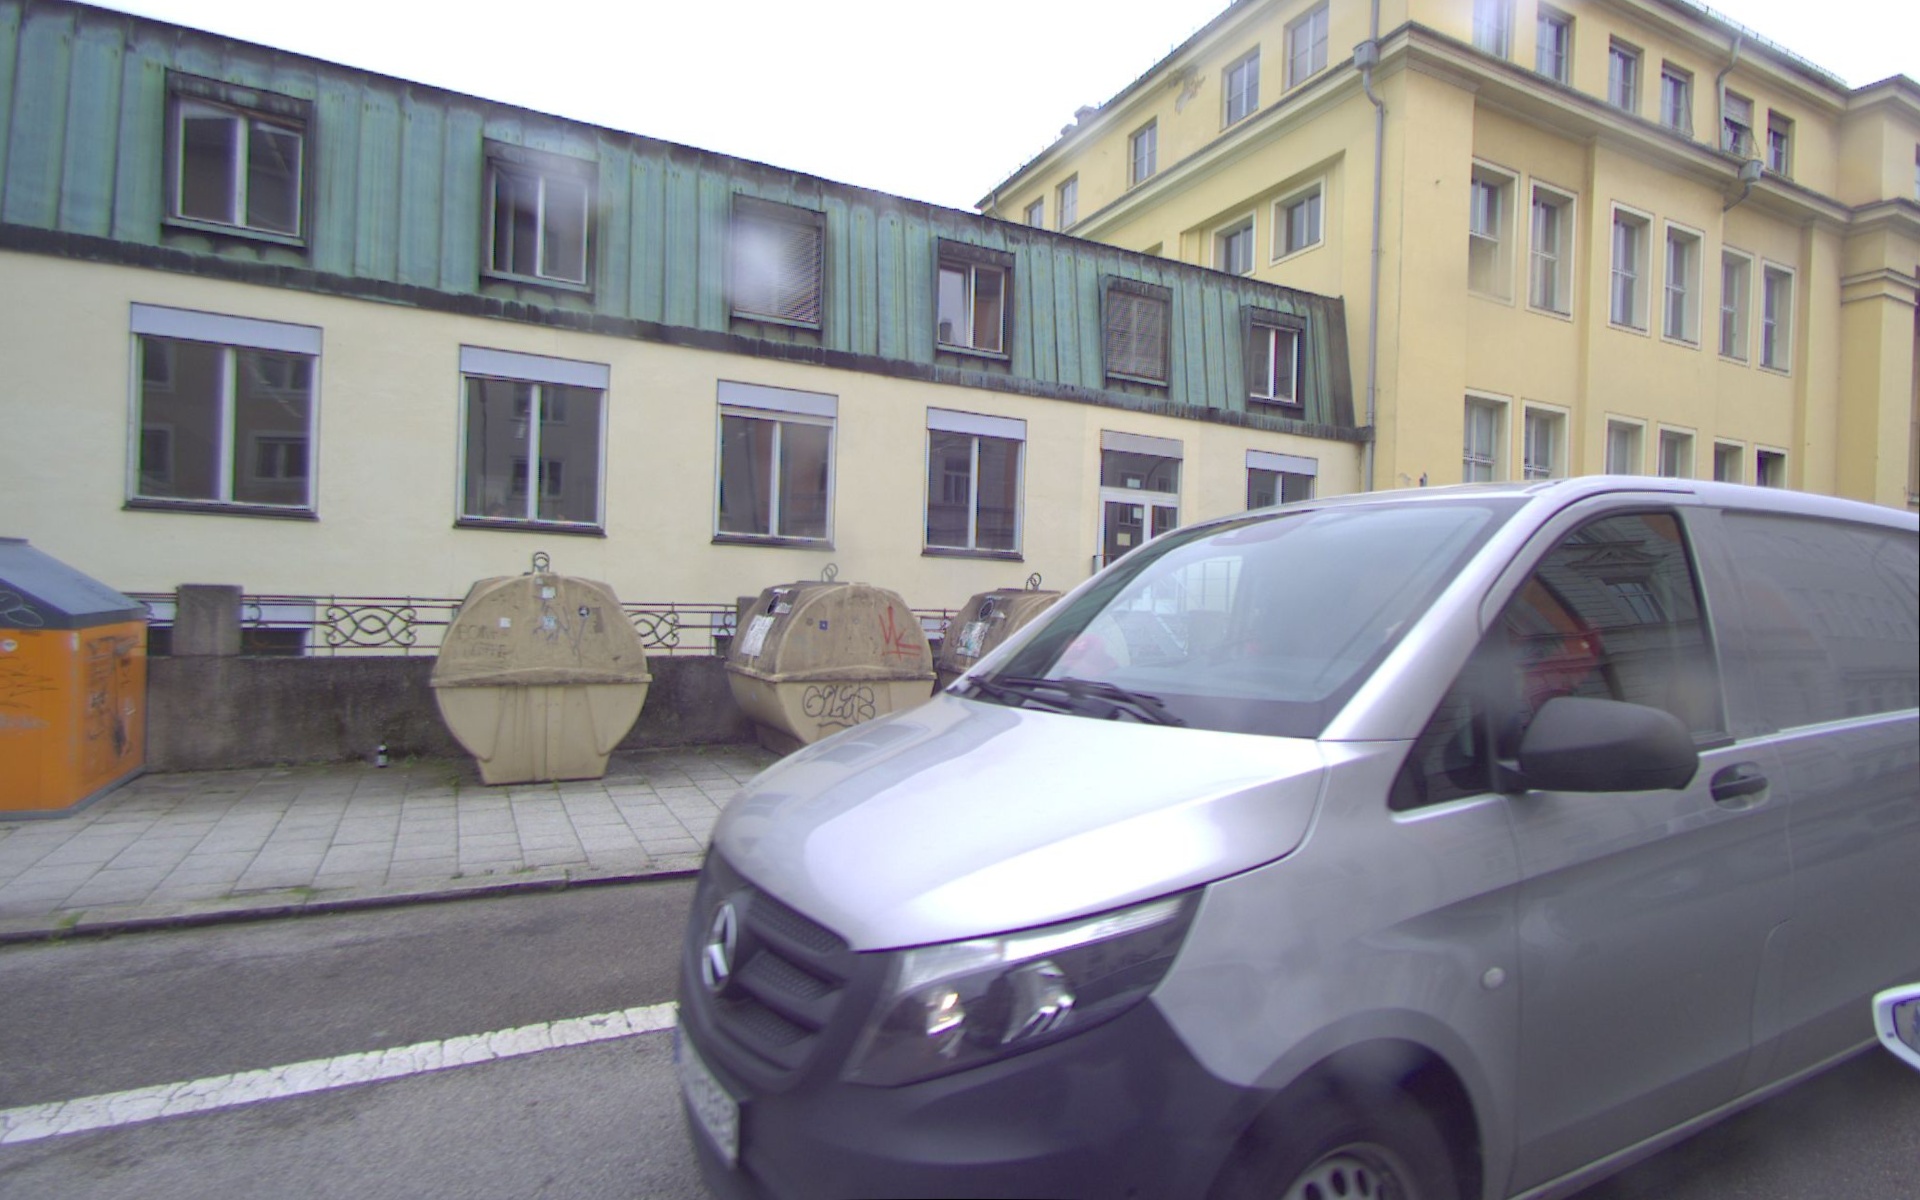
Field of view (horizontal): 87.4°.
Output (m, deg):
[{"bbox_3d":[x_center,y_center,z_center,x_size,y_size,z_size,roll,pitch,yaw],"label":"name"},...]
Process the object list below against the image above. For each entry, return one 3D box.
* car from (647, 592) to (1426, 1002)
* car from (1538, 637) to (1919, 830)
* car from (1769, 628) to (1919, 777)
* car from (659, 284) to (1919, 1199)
[{"bbox_3d":[0.606,0.905,5.944,4.414,1.651,1.716,2,-4,-31],"label":"car"},{"bbox_3d":[7.469,1.100,9.337,4.305,1.423,1.741,2,-4,-31],"label":"car"},{"bbox_3d":[11.511,1.125,11.539,4.475,1.501,1.949,2,-4,-30],"label":"car"},{"bbox_3d":[1.887,0.623,3.348,5.255,1.873,1.907,2,-1,-29],"label":"car"}]
